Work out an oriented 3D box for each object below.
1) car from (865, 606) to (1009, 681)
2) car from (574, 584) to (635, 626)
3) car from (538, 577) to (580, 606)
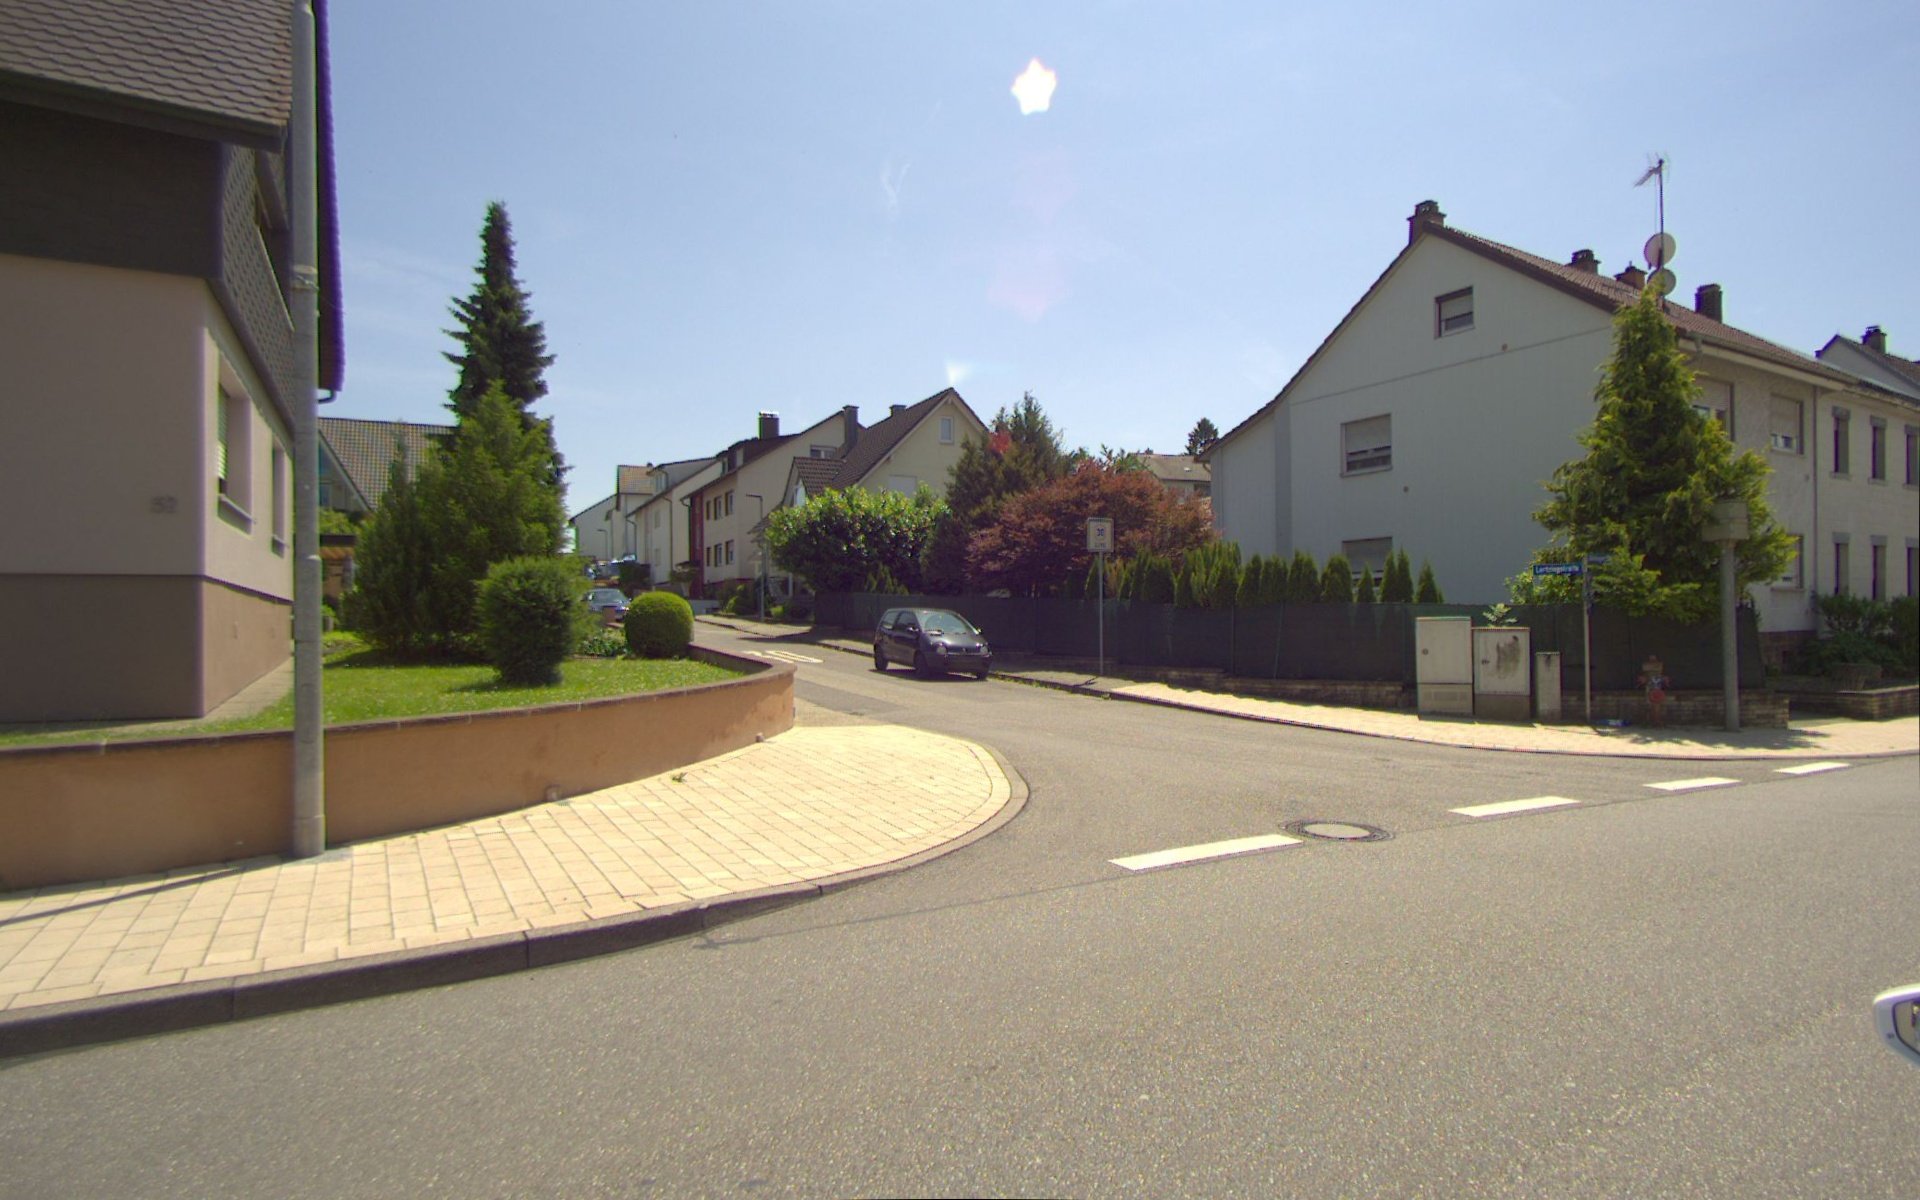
[{"bbox_3d":[-0.596,0.902,22.090,1.729,1.435,3.730,1,0,-26],"label":"car"},{"bbox_3d":[-14.409,0.177,40.621,1.852,1.573,3.882,1,1,-26],"label":"car"},{"bbox_3d":[-23.309,-0.495,58.257,1.905,1.573,4.272,2,0,-26],"label":"car"}]
